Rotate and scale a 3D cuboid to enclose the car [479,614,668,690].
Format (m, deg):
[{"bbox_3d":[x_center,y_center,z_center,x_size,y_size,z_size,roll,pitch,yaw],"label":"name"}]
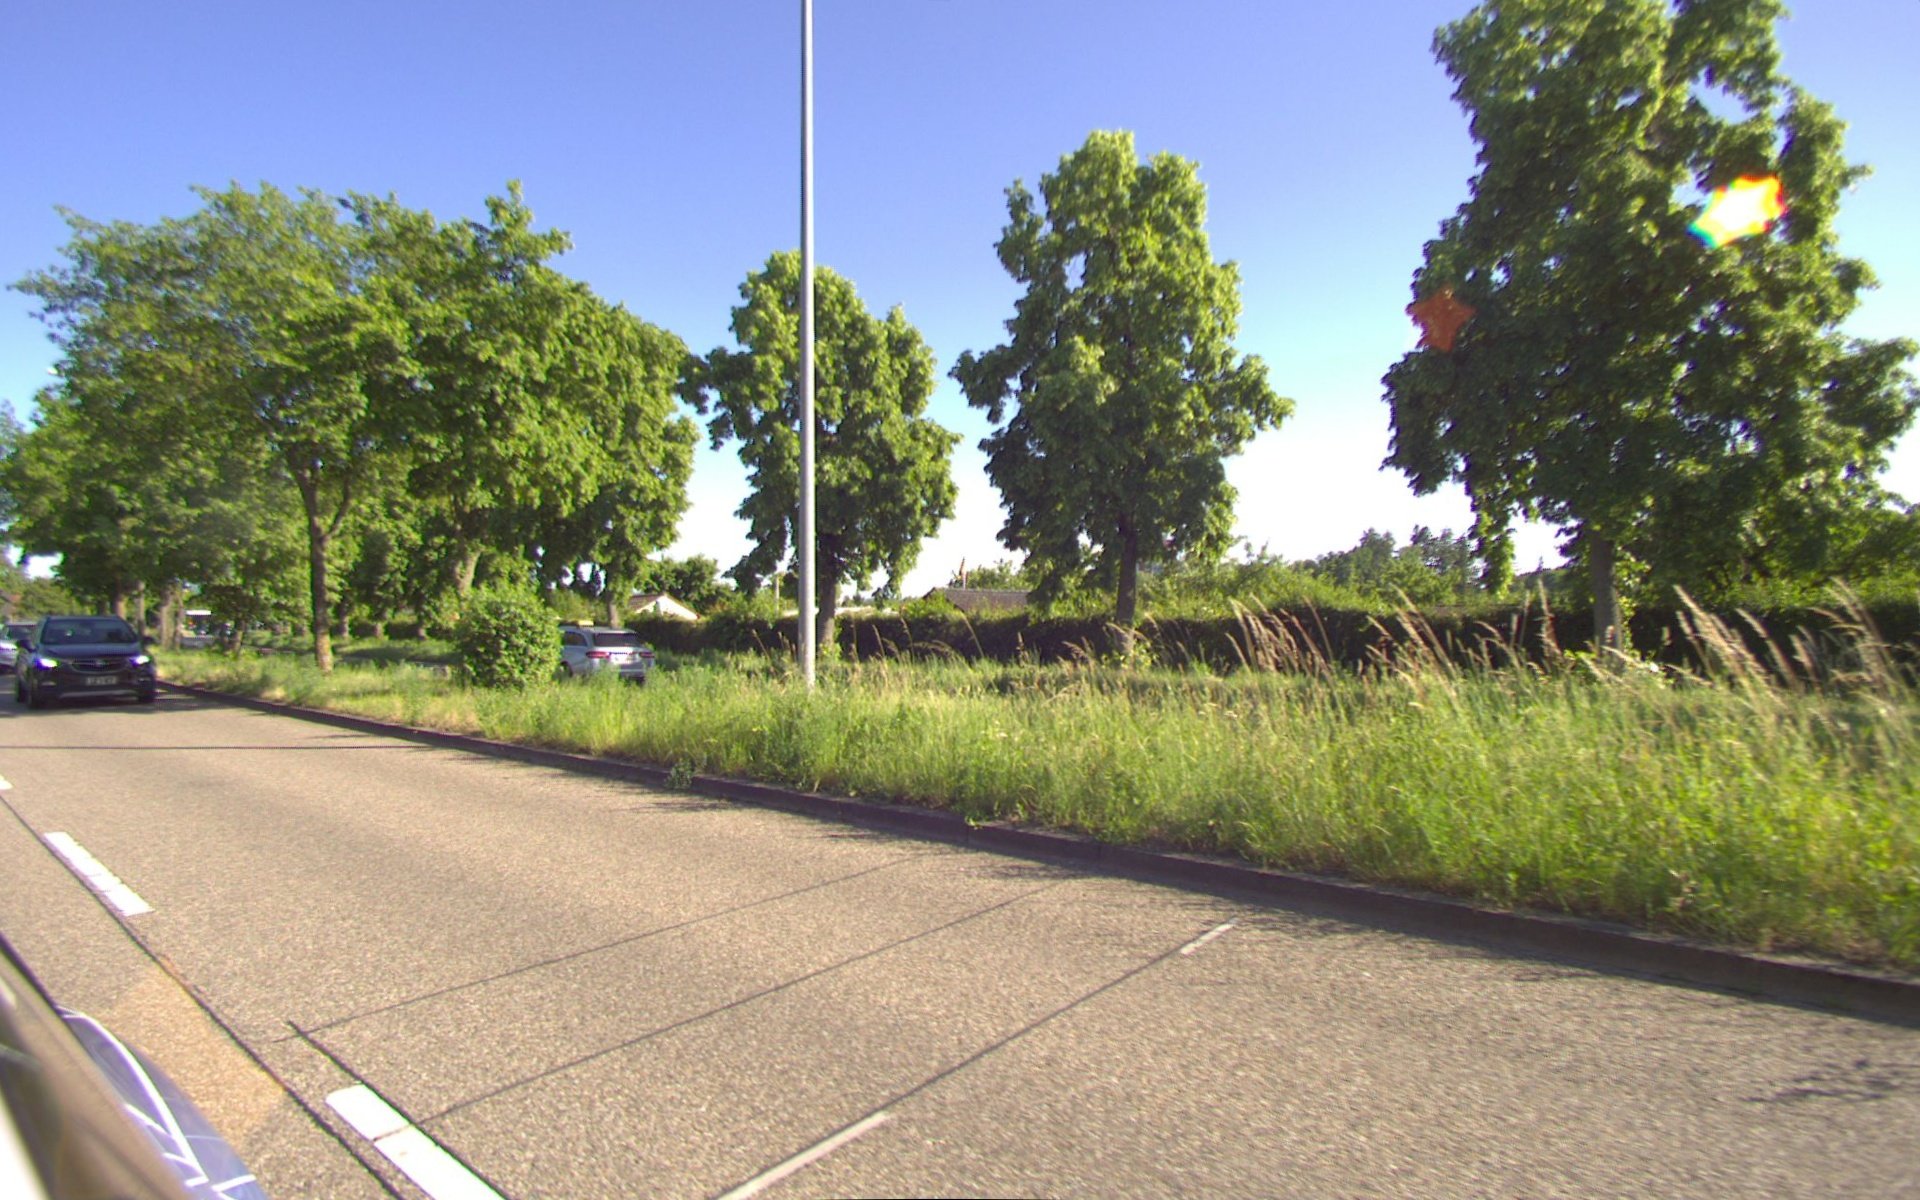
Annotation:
[{"bbox_3d":[-9.290,1.209,24.062,5.573,1.618,1.836,-2,-4,42],"label":"car"}]

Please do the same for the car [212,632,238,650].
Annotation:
[{"bbox_3d":[-63.210,3.527,86.978,1.670,1.447,4.951,3,-4,-37],"label":"car"}]

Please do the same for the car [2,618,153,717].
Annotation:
[{"bbox_3d":[-16.604,1.151,18.961,4.516,1.627,1.786,-1,-1,44],"label":"car"}]

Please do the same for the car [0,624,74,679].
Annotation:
[{"bbox_3d":[-28.810,1.551,31.383,1.798,1.574,4.650,0,-2,-44],"label":"car"}]

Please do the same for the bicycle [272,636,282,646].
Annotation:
[{"bbox_3d":[-71.565,4.298,106.110,0.681,1.004,1.844,1,-2,-40],"label":"bicycle"}]
